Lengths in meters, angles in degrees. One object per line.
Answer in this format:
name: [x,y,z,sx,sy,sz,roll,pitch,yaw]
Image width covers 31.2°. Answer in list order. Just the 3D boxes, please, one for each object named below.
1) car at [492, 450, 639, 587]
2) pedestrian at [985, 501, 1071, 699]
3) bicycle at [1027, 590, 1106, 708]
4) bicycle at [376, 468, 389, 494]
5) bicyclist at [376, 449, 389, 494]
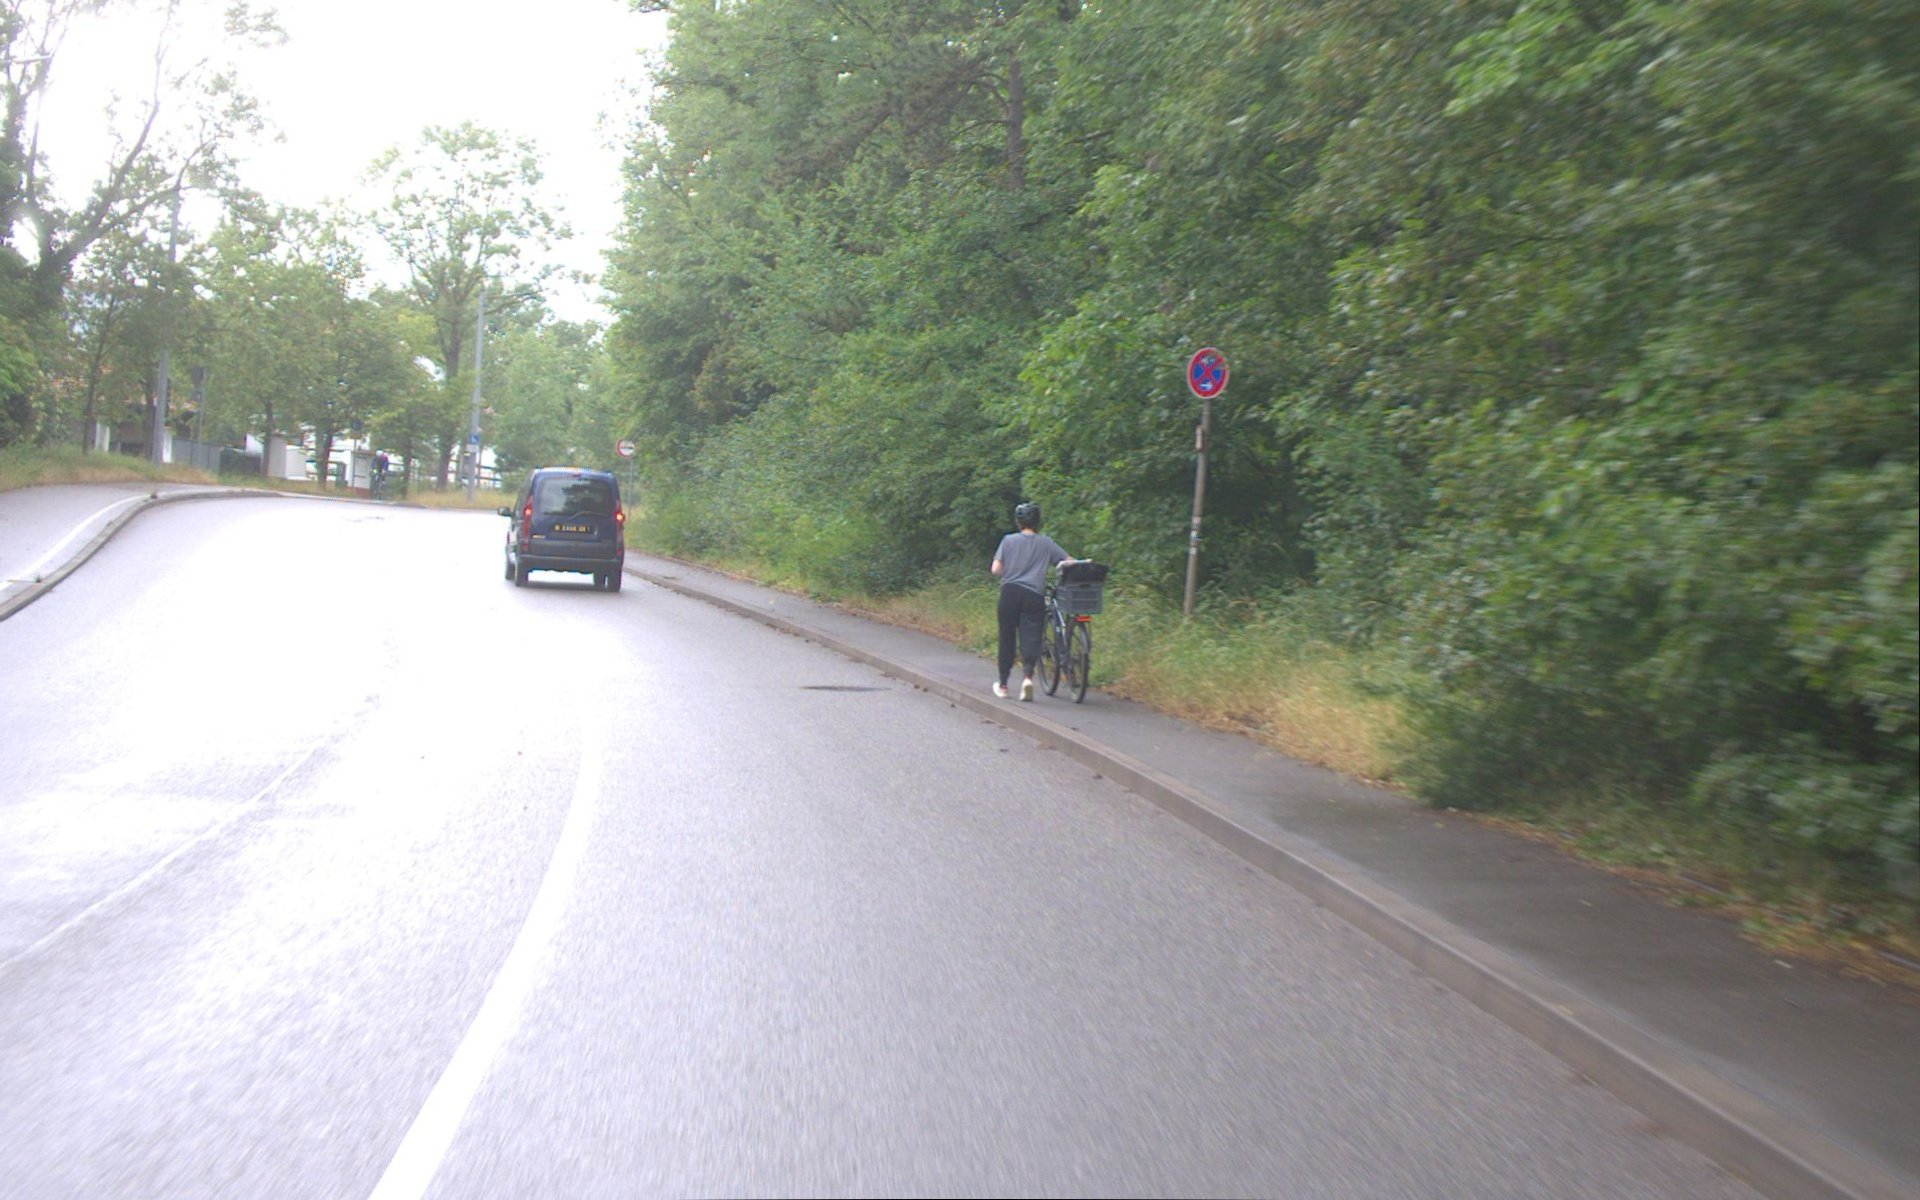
car: [-6.204,-1.307,53.723,1.826,1.787,4.002,5,3,-12]
pedestrian: [0.545,0.010,27.861,0.564,1.571,0.770,1,-1,-7]
bicycle: [0.859,0.384,28.007,0.355,0.846,1.743,-1,3,-8]
bicycle: [-20.322,-4.182,120.924,0.355,0.846,2.094,2,3,-8]
bicyclist: [-20.315,-4.519,120.926,0.336,1.569,1.298,3,2,-7]
